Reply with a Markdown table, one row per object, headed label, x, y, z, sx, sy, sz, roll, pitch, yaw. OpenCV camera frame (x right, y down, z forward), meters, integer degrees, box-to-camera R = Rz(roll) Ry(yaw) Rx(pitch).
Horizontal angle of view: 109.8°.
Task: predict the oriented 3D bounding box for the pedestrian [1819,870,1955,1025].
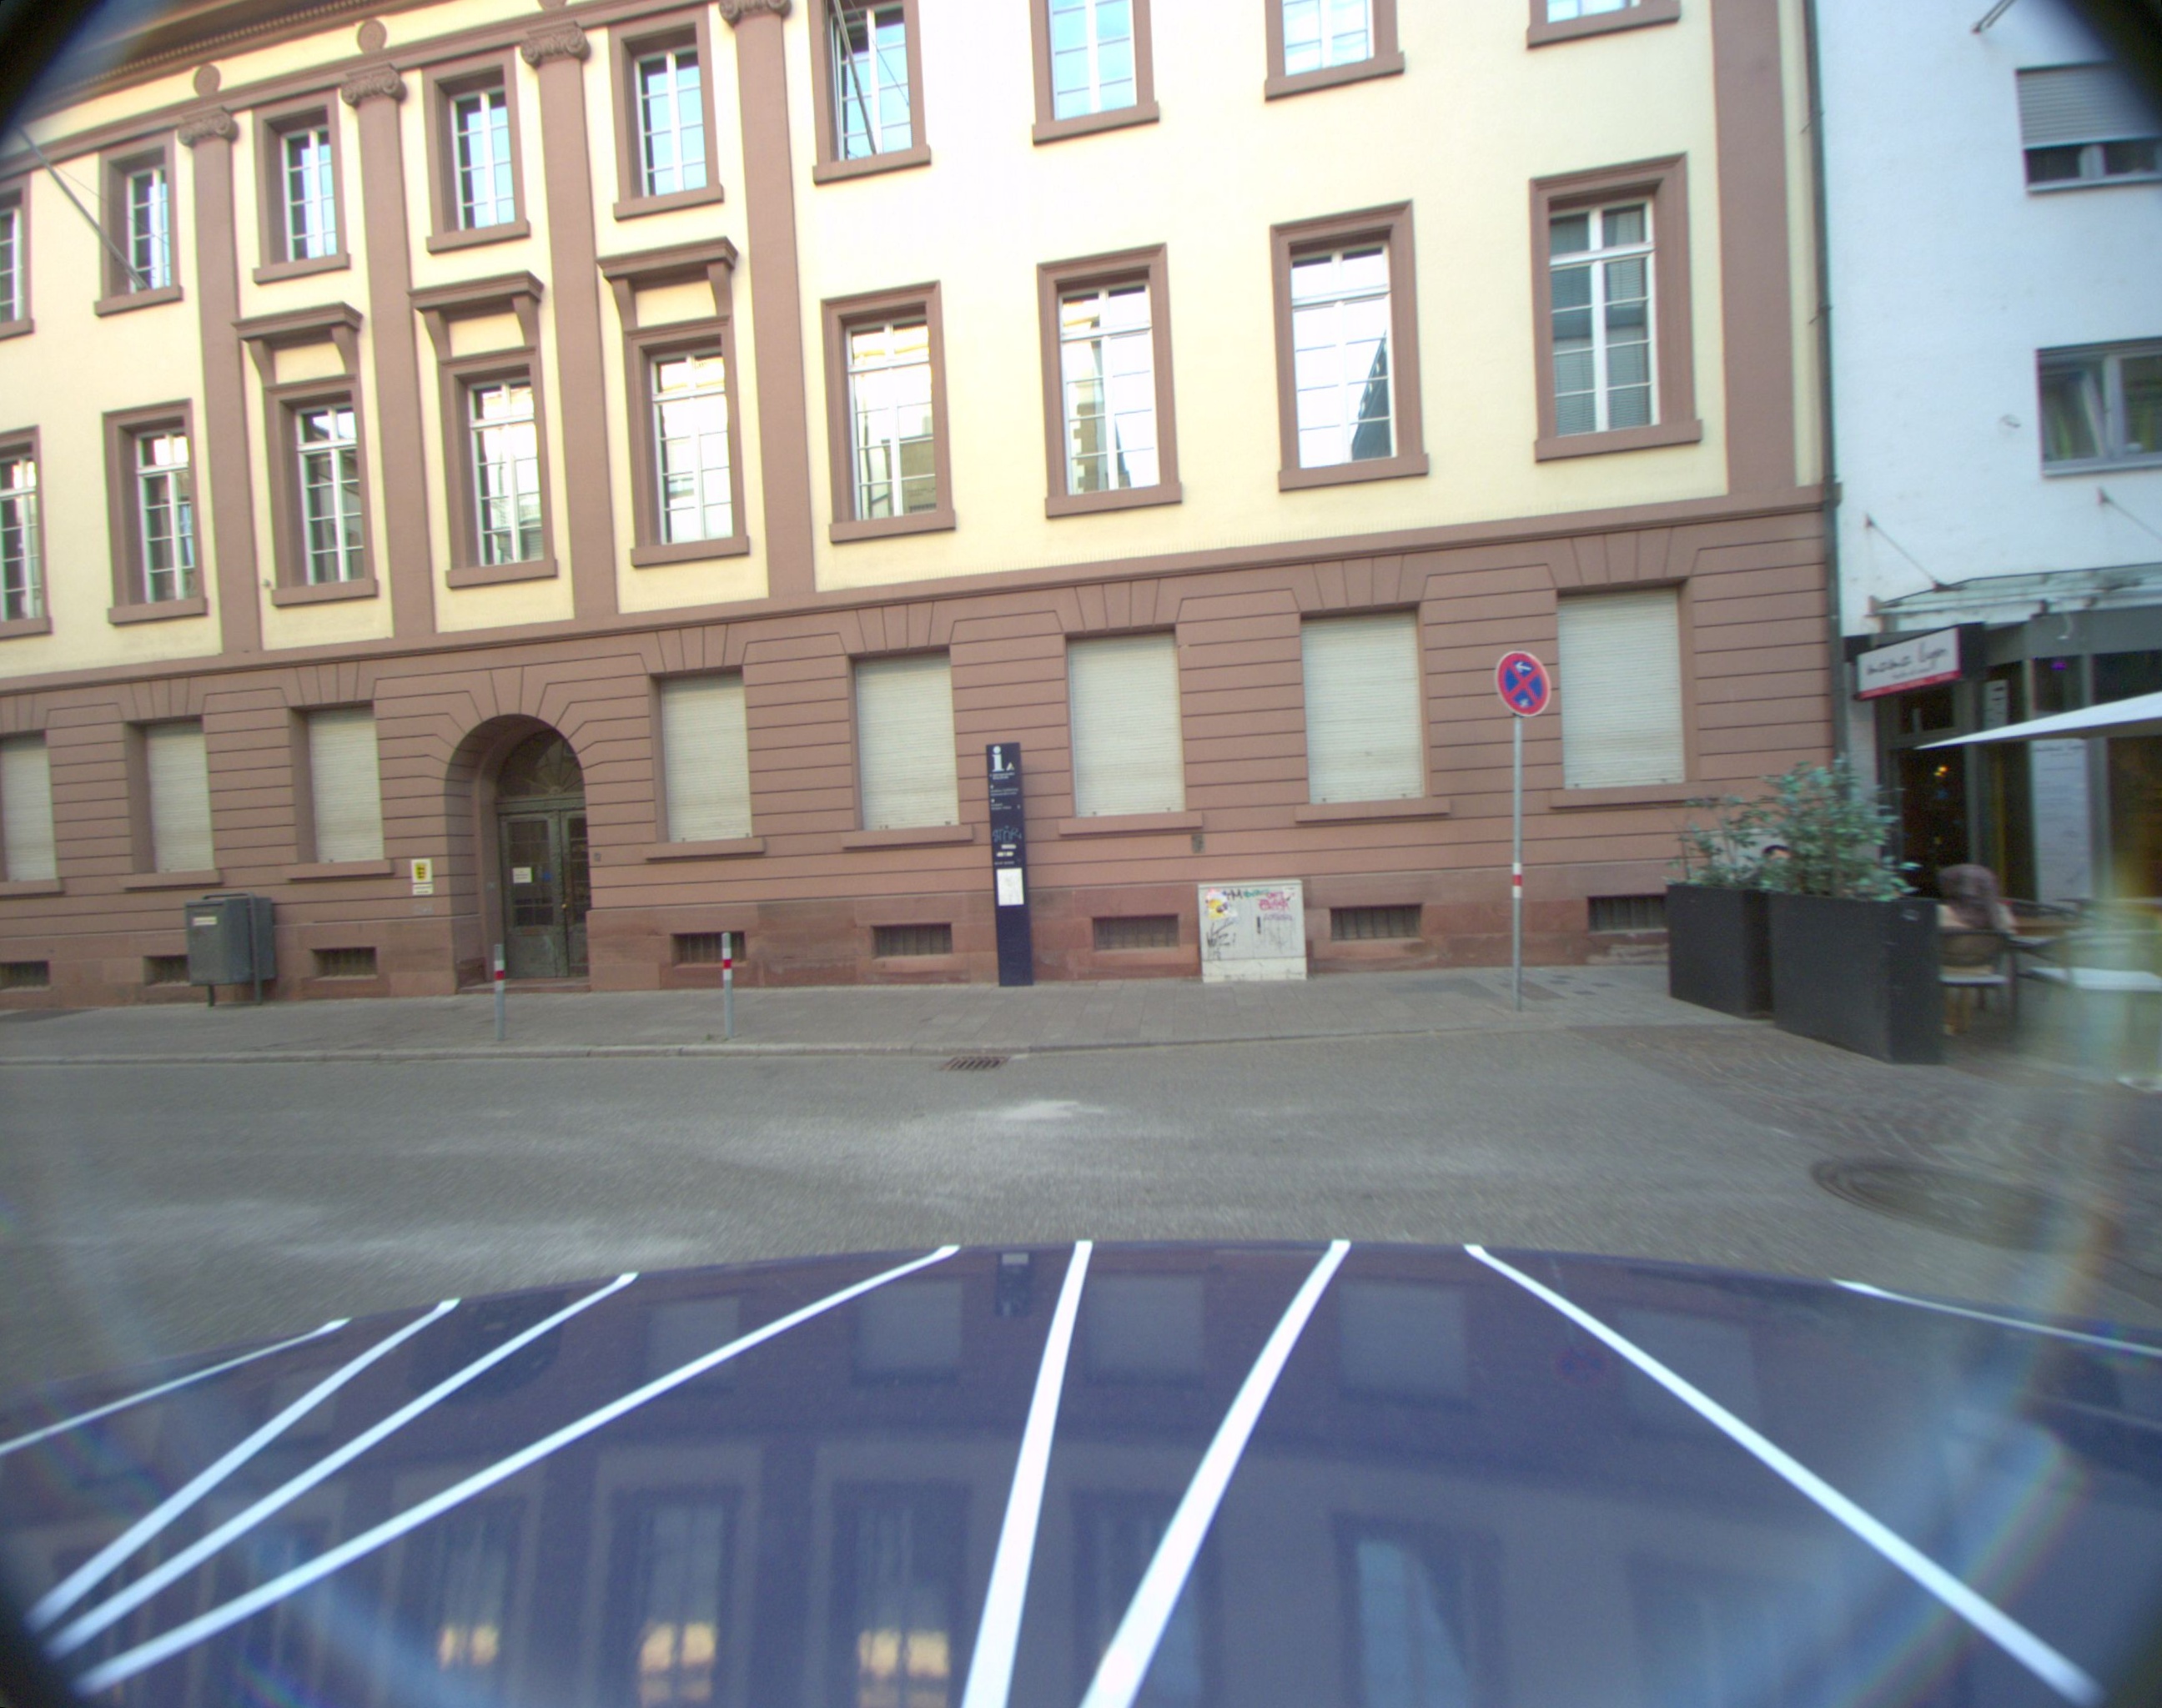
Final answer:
| label | x | y | z | sx | sy | sz | roll | pitch | yaw |
| --- | --- | --- | --- | --- | --- | --- | --- | --- | --- |
| pedestrian | 6.642 | 0.751 | 6.286 | 0.548 | 1.204 | 0.524 | -3 | 1 | 10 |

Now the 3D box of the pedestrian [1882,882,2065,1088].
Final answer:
| label | x | y | z | sx | sy | sz | roll | pitch | yaw |
| --- | --- | --- | --- | --- | --- | --- | --- | --- | --- |
| pedestrian | 5.605 | 0.803 | 4.800 | 0.561 | 1.204 | 0.461 | -3 | 1 | 10 |

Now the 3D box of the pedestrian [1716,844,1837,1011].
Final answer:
| label | x | y | z | sx | sy | sz | roll | pitch | yaw |
| --- | --- | --- | --- | --- | --- | --- | --- | --- | --- |
| pedestrian | 5.859 | 0.601 | 6.423 | 0.548 | 1.341 | 0.489 | -3 | 1 | 10 |
